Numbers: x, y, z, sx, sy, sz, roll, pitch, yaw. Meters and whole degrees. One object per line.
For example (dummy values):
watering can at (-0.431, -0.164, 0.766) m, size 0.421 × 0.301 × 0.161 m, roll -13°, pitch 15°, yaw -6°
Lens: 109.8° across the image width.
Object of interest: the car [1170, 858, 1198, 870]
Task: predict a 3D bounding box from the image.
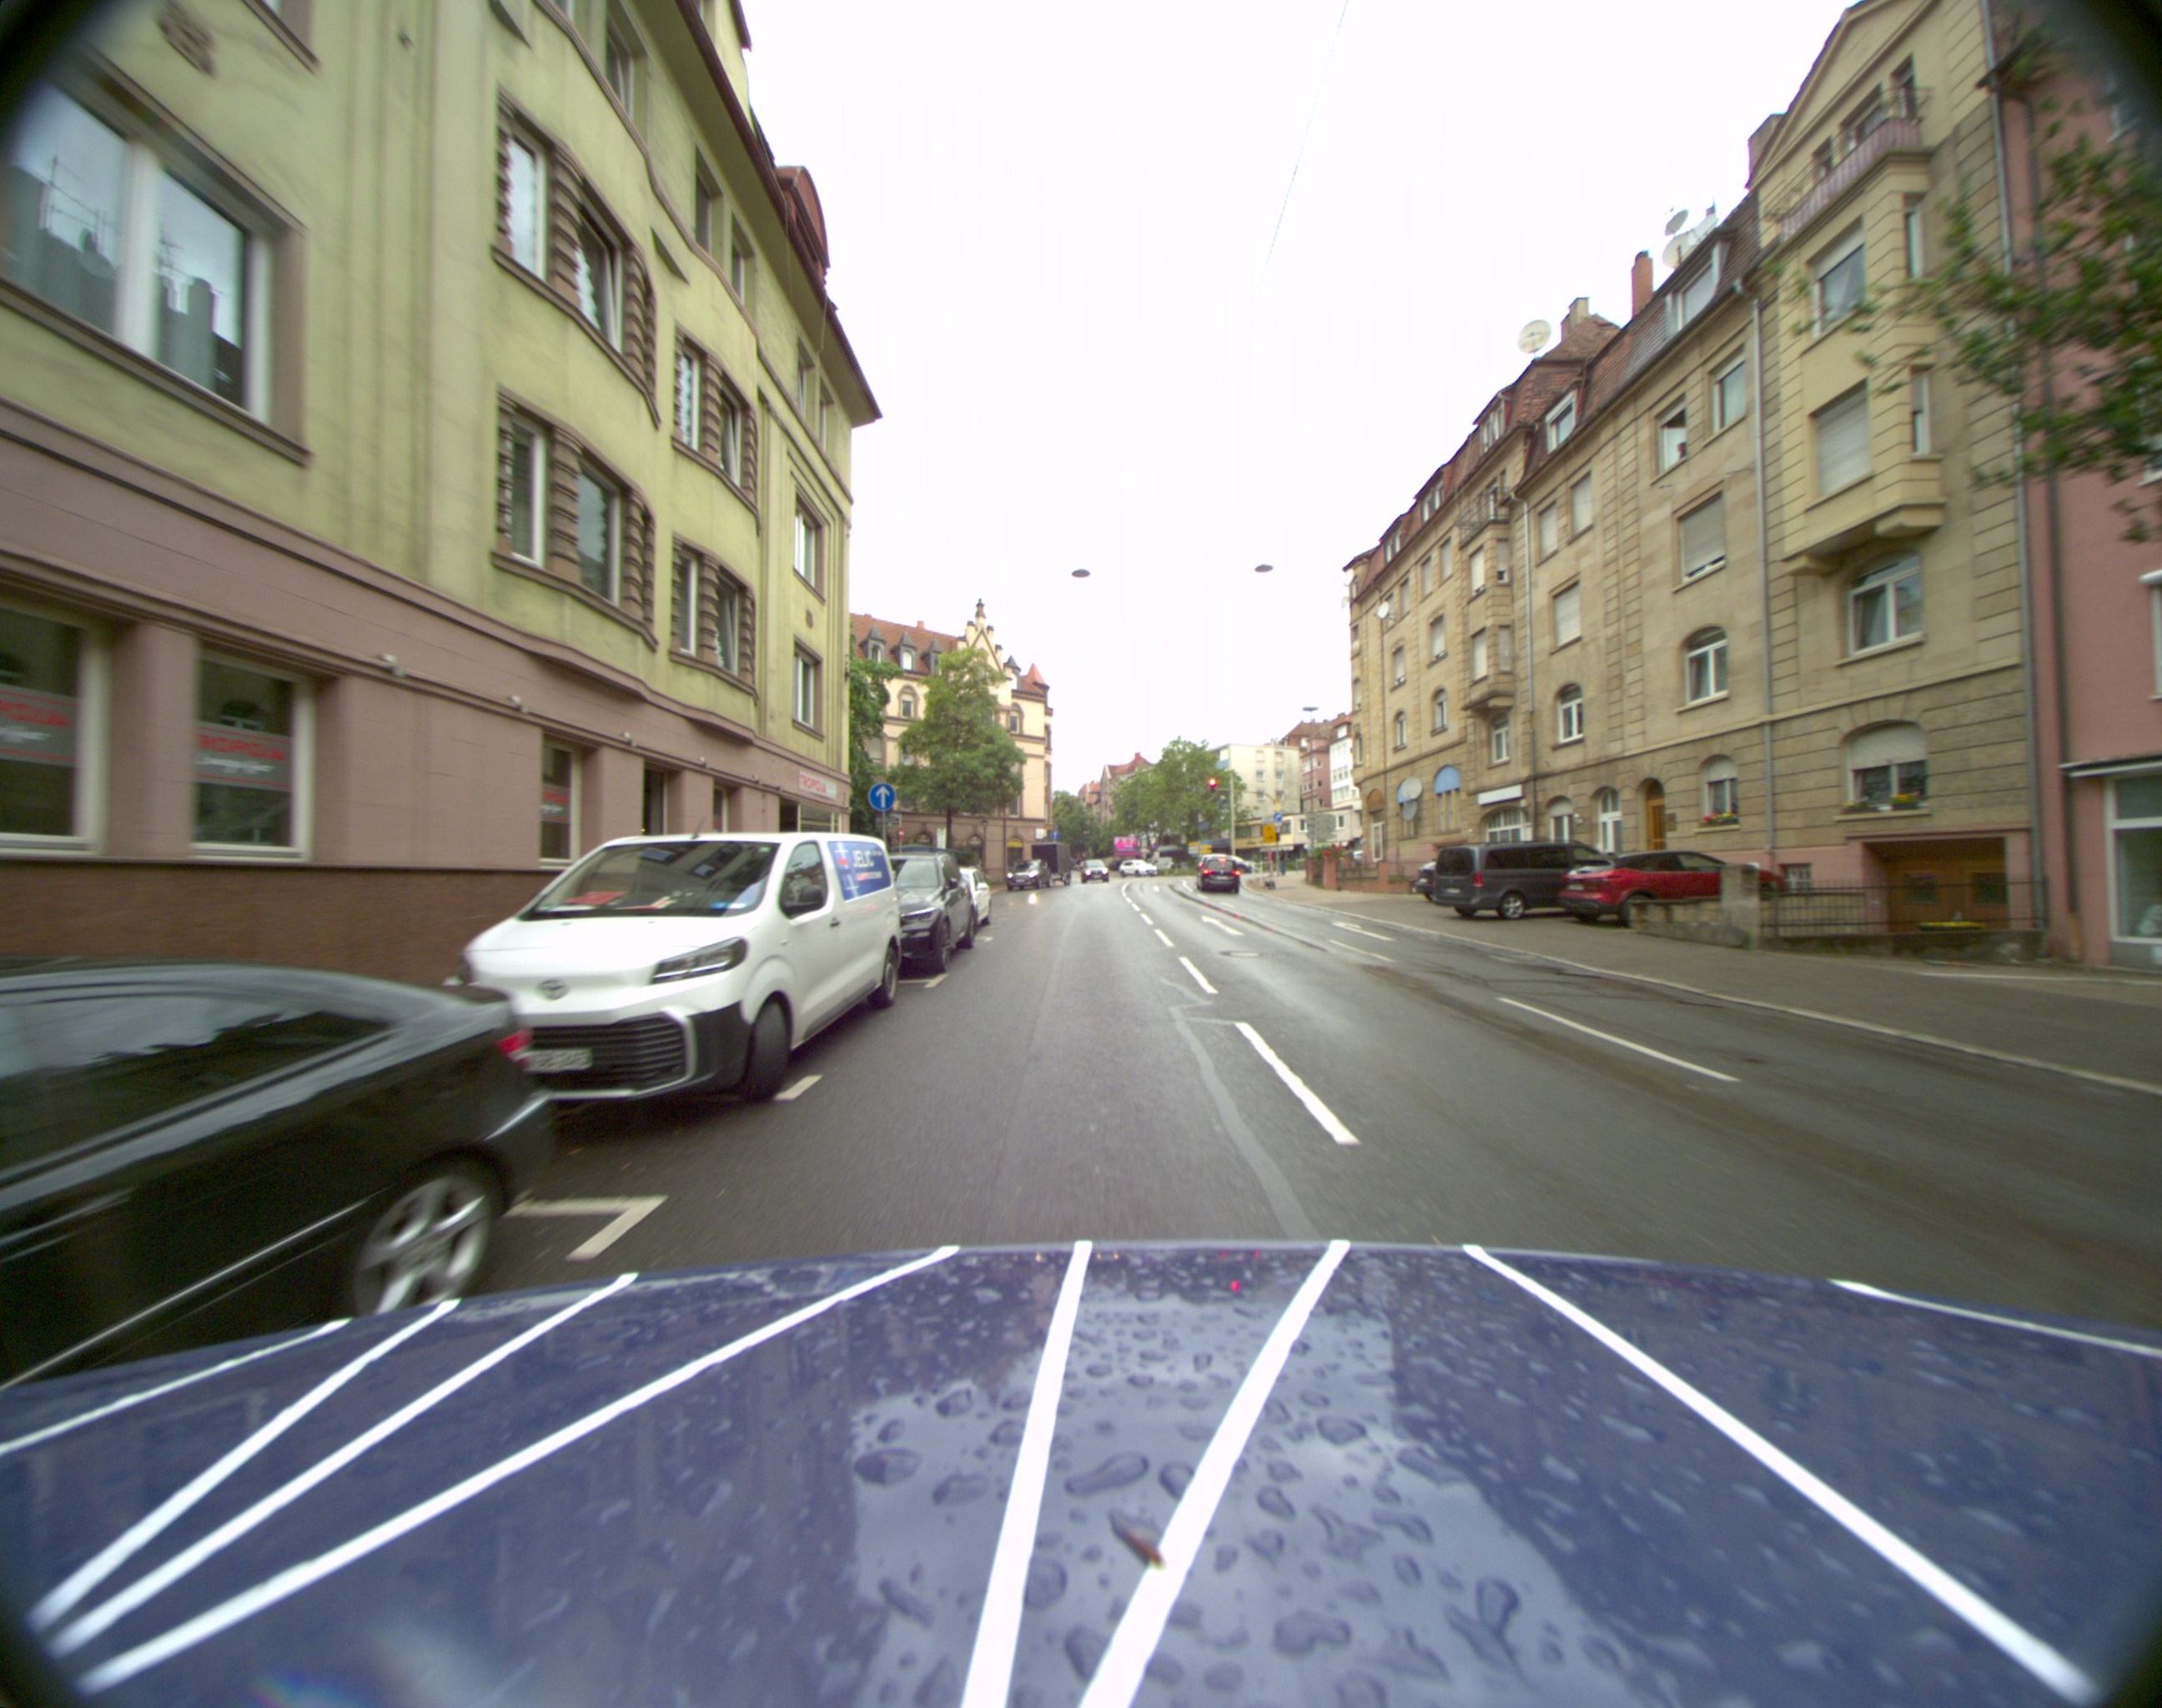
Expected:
car at (13.983, 1.390, 103.330) m, size 3.628 × 1.408 × 1.626 m, roll -3°, pitch 1°, yaw -37°

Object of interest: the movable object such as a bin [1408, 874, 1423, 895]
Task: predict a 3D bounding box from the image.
movable object such as a bin at (15.110, 1.370, 34.348) m, size 0.476 × 0.944 × 0.417 m, roll -2°, pitch 1°, yaw 6°

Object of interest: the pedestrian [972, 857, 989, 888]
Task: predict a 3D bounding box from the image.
pedestrian at (-5.726, 1.079, 43.452) m, size 0.572 × 1.723 × 0.733 m, roll -3°, pitch 0°, yaw 28°

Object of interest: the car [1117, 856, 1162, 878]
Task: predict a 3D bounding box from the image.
car at (5.559, 1.250, 72.419) m, size 1.919 × 2.002 × 4.445 m, roll -3°, pitch 0°, yaw -32°

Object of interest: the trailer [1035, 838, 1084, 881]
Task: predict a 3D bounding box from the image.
trailer at (-1.291, 0.323, 48.487) m, size 1.936 × 2.621 × 4.689 m, roll 0°, pitch 0°, yaw 14°

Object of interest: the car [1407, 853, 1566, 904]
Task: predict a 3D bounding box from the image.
car at (13.121, 0.777, 24.786) m, size 4.157 × 1.502 × 1.873 m, roll -1°, pitch 0°, yaw 1°

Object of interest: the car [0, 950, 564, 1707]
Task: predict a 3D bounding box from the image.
car at (-3.047, 1.110, 1.029) m, size 1.681 × 1.367 × 4.276 m, roll -2°, pitch 0°, yaw 1°

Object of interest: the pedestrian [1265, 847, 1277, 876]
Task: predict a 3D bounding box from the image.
pedestrian at (11.932, 0.451, 47.711) m, size 0.523 × 1.763 × 0.694 m, roll -3°, pitch 0°, yaw 7°

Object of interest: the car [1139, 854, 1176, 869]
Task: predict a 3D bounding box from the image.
car at (11.091, 1.108, 110.195) m, size 4.983 × 1.966 × 1.876 m, roll -3°, pitch 1°, yaw -28°

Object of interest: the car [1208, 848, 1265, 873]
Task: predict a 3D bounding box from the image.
car at (13.354, 0.556, 65.514) m, size 1.920 × 2.002 × 4.497 m, roll -3°, pitch 0°, yaw -44°

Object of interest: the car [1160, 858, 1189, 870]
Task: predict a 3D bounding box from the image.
car at (12.994, 1.389, 105.449) m, size 3.711 × 1.408 × 1.808 m, roll -3°, pitch 1°, yaw -33°

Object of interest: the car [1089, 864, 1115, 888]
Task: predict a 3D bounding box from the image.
car at (1.423, 1.501, 52.740) m, size 1.648 × 1.594 × 3.667 m, roll -1°, pitch 0°, yaw 0°

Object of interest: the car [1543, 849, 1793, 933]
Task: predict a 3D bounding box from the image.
car at (13.023, 0.769, 17.056) m, size 4.107 × 1.581 × 1.897 m, roll -3°, pitch 1°, yaw 0°

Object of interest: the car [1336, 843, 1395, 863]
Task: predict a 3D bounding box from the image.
car at (22.926, -0.067, 61.285) m, size 4.174 × 1.474 × 1.759 m, roll -2°, pitch 0°, yaw 10°

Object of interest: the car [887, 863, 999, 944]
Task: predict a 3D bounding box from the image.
car at (-3.102, 1.051, 18.007) m, size 1.803 × 1.555 × 4.492 m, roll -2°, pitch 0°, yaw 0°

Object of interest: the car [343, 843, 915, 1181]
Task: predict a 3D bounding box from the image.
car at (-2.993, 0.847, 6.614) m, size 1.924 × 1.816 × 5.009 m, roll 0°, pitch 0°, yaw 1°

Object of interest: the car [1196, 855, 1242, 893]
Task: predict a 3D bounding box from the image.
car at (6.508, 0.882, 36.285) m, size 1.624 × 1.639 × 4.421 m, roll 2°, pitch 0°, yaw 4°

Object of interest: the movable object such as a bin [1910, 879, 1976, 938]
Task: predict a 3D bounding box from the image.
movable object such as a bin at (15.392, 0.967, 13.582) m, size 0.533 × 0.991 × 0.550 m, roll -2°, pitch 0°, yaw 6°

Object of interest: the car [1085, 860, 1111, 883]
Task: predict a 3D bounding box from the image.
car at (1.248, 1.303, 57.631) m, size 1.649 × 1.594 × 3.807 m, roll -1°, pitch 0°, yaw -4°

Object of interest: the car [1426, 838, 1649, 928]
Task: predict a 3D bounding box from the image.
car at (11.494, 0.687, 19.273) m, size 4.689 × 1.927 × 1.862 m, roll -3°, pitch 0°, yaw -9°

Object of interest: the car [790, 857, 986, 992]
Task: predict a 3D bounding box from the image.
car at (-2.796, 0.923, 12.194) m, size 1.883 × 1.721 × 4.676 m, roll 0°, pitch 0°, yaw 1°

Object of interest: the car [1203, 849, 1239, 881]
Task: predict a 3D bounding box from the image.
car at (8.222, 0.590, 44.494) m, size 1.968 × 1.683 × 4.811 m, roll -1°, pitch 1°, yaw 11°

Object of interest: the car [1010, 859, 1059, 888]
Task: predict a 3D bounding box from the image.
car at (-2.562, 1.062, 42.359) m, size 1.860 × 1.503 × 3.685 m, roll -1°, pitch 0°, yaw 11°

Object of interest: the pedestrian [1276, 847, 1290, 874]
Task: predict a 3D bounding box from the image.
pedestrian at (13.051, 0.413, 49.078) m, size 0.638 × 1.692 × 0.829 m, roll -3°, pitch 0°, yaw 3°
